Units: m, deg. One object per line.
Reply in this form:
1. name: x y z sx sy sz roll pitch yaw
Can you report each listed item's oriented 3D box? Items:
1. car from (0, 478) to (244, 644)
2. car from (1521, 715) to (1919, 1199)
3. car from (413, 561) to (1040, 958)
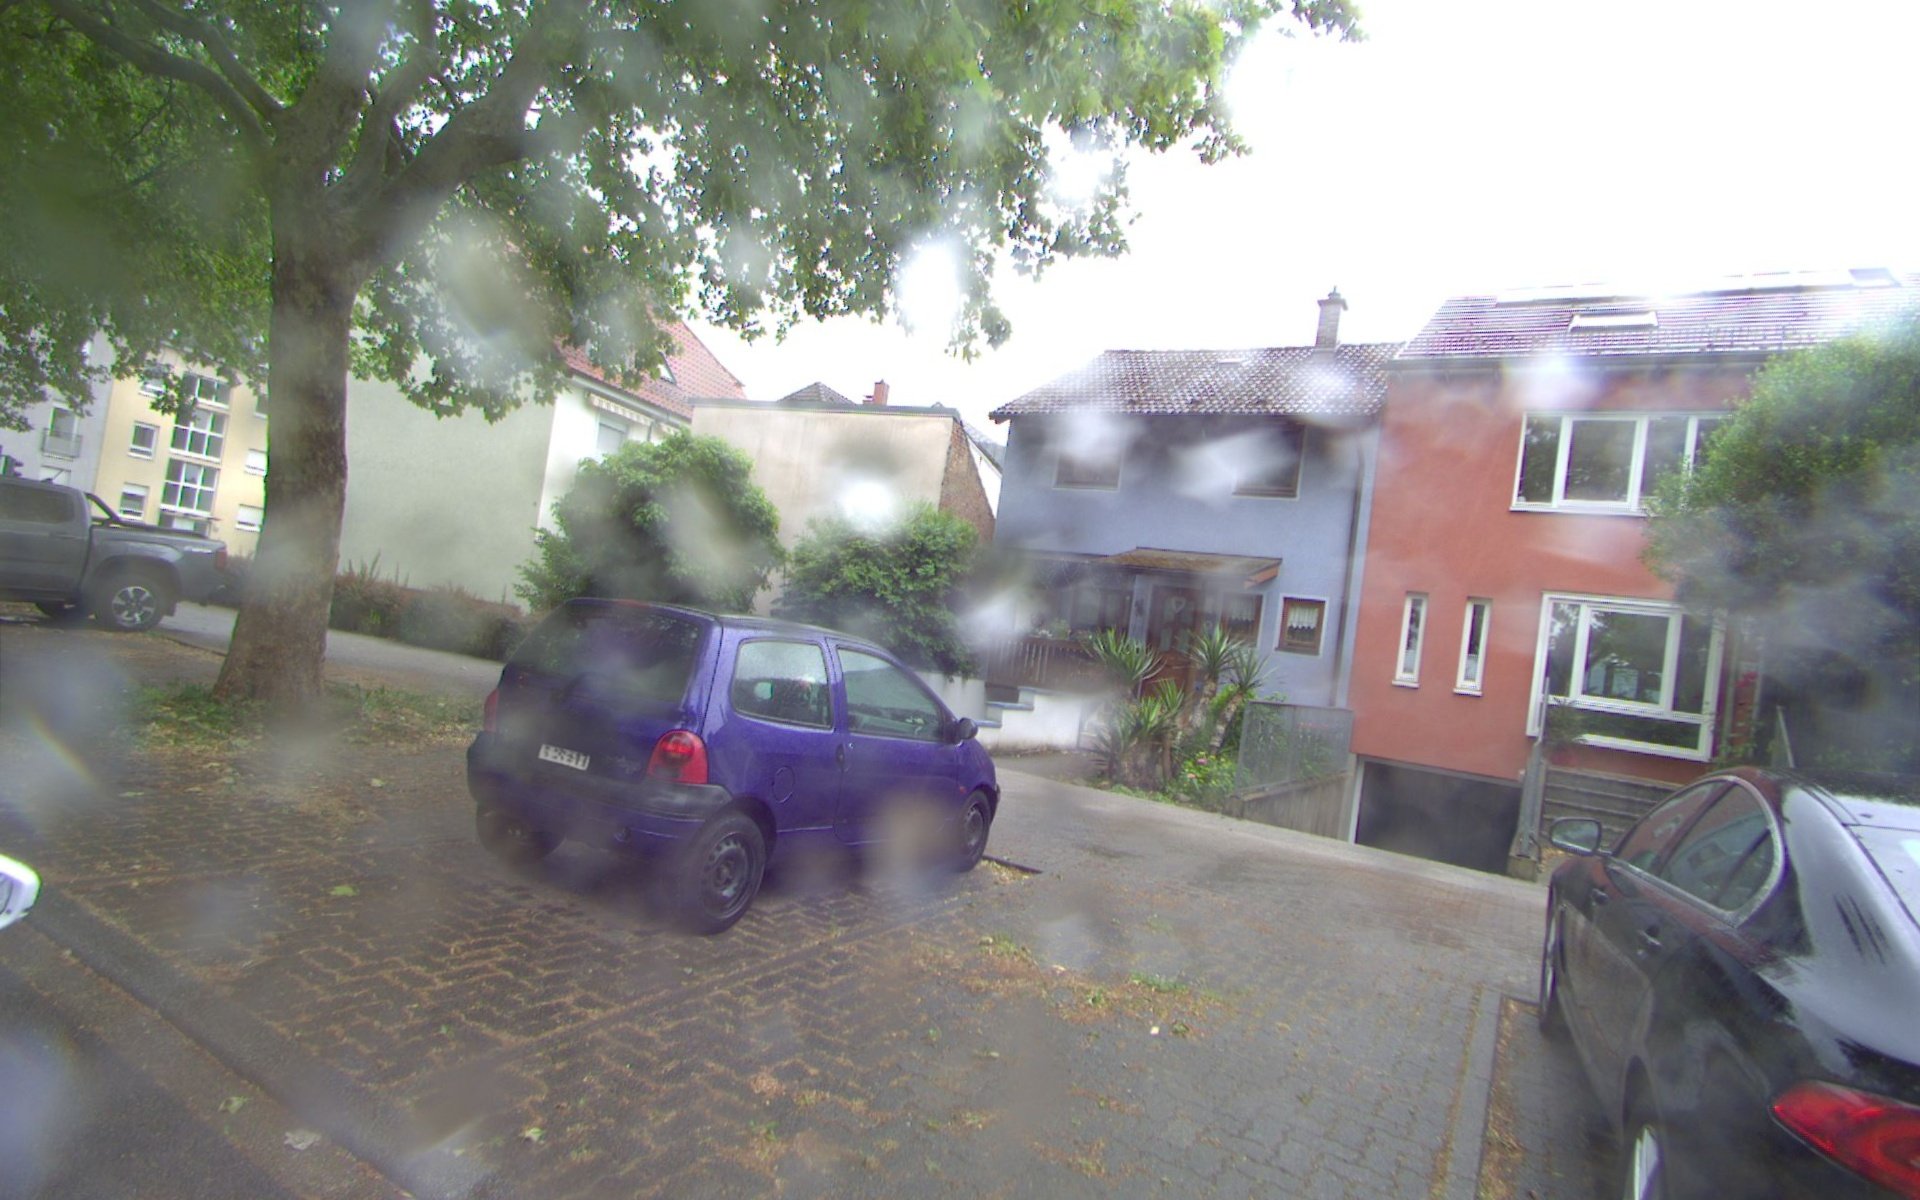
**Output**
1. car: -12.354 -0.641 12.453 1.812 1.827 5.358 7 -3 25
2. car: 2.965 1.253 2.980 1.903 1.490 4.780 7 -2 27
3. car: -1.046 0.813 5.934 1.591 1.480 3.364 7 -3 30
